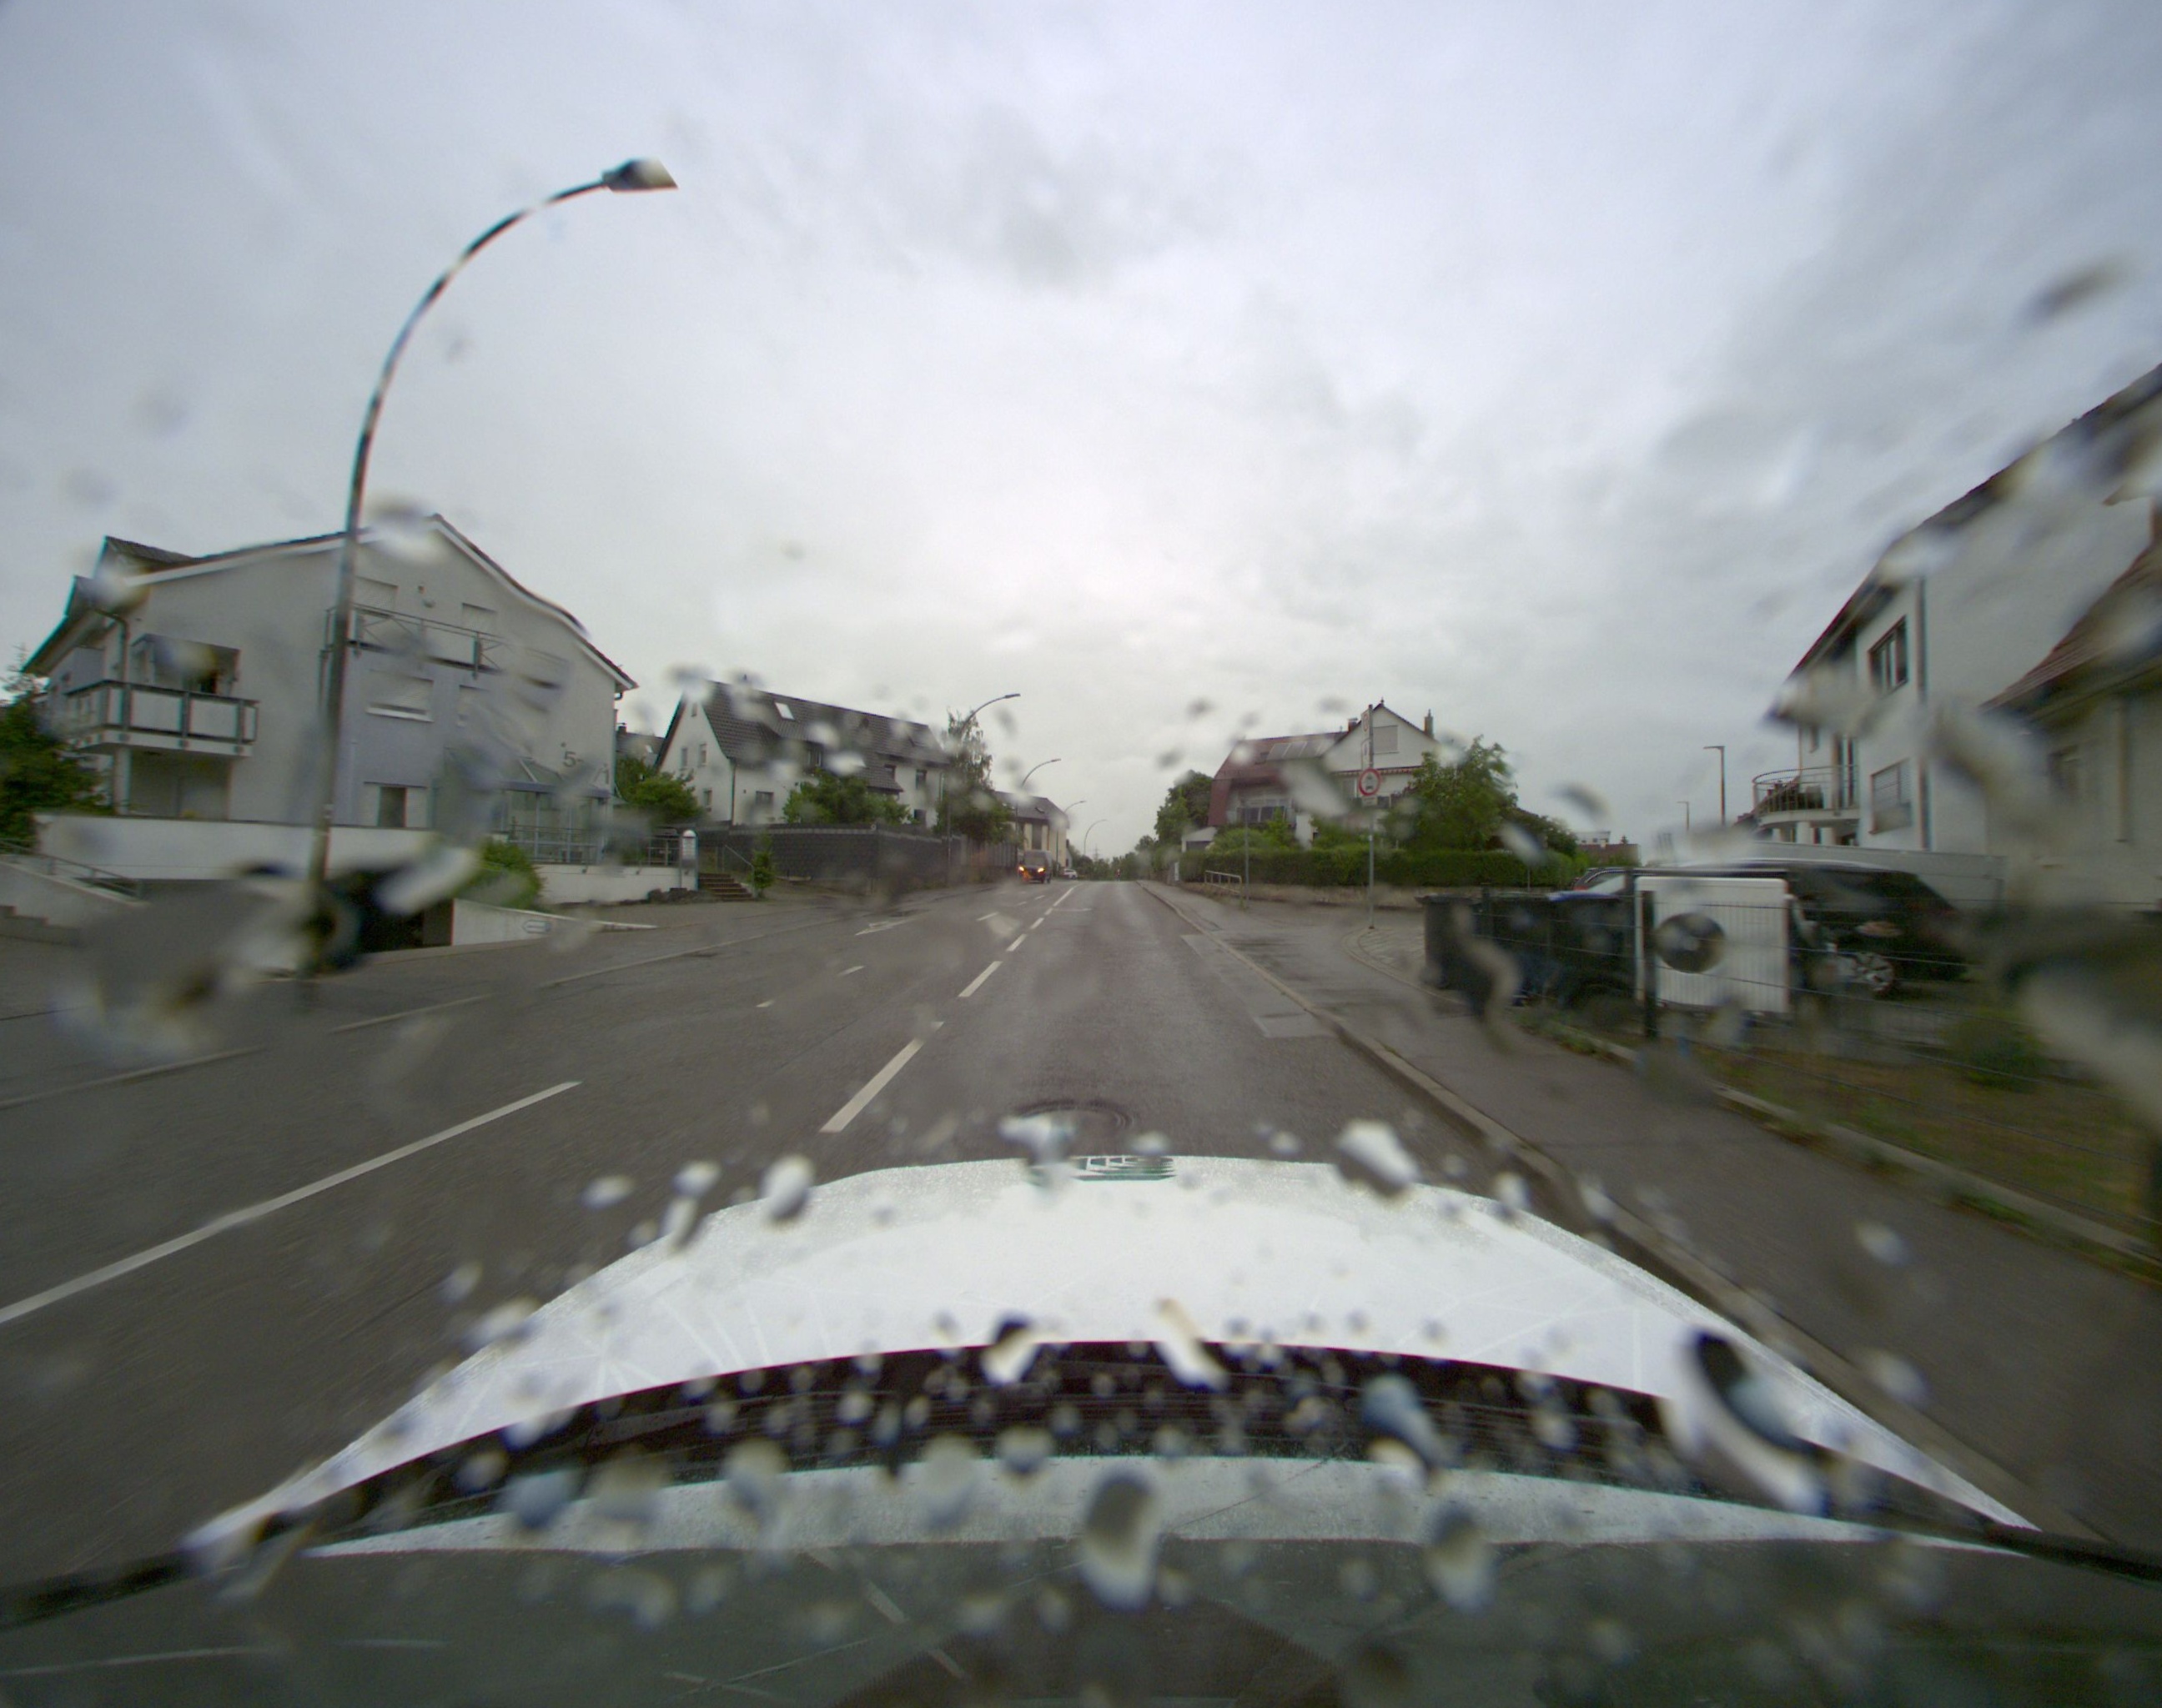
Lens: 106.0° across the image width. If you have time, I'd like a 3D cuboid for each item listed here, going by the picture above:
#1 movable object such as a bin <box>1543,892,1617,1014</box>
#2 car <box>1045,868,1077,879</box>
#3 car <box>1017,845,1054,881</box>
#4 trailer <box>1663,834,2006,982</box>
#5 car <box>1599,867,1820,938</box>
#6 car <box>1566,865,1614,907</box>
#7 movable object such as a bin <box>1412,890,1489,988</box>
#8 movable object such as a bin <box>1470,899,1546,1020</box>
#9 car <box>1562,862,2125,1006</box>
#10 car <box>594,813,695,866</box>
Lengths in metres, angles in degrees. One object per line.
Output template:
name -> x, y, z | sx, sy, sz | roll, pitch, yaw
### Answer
movable object such as a bin -> 4.483, 0.873, 7.340 | 0.439, 1.021, 0.527 | -1, 0, 17
car -> -2.834, 2.841, 117.323 | 1.883, 1.477, 4.912 | 1, -1, 39
car -> -3.550, 0.744, 65.150 | 2.084, 2.649, 5.925 | 2, -1, 5
trailer -> 10.587, 0.662, 11.797 | 3.419, 1.798, 1.698 | 2, 0, 38
car -> 14.583, 1.098, 19.171 | 3.948, 1.464, 1.884 | 0, -3, 35
car -> 25.813, 1.569, 41.402 | 1.974, 2.013, 4.025 | -1, 0, 31
movable object such as a bin -> 4.098, 0.930, 9.063 | 0.624, 1.021, 0.541 | -1, 0, 7
movable object such as a bin -> 3.978, 0.959, 7.619 | 0.525, 1.021, 0.737 | -1, 0, 21
car -> 8.560, 0.812, 9.766 | 4.520, 1.384, 2.010 | 0, 0, 19
car -> -17.958, -0.606, 33.467 | 3.950, 1.781, 2.012 | 7, 2, 35
